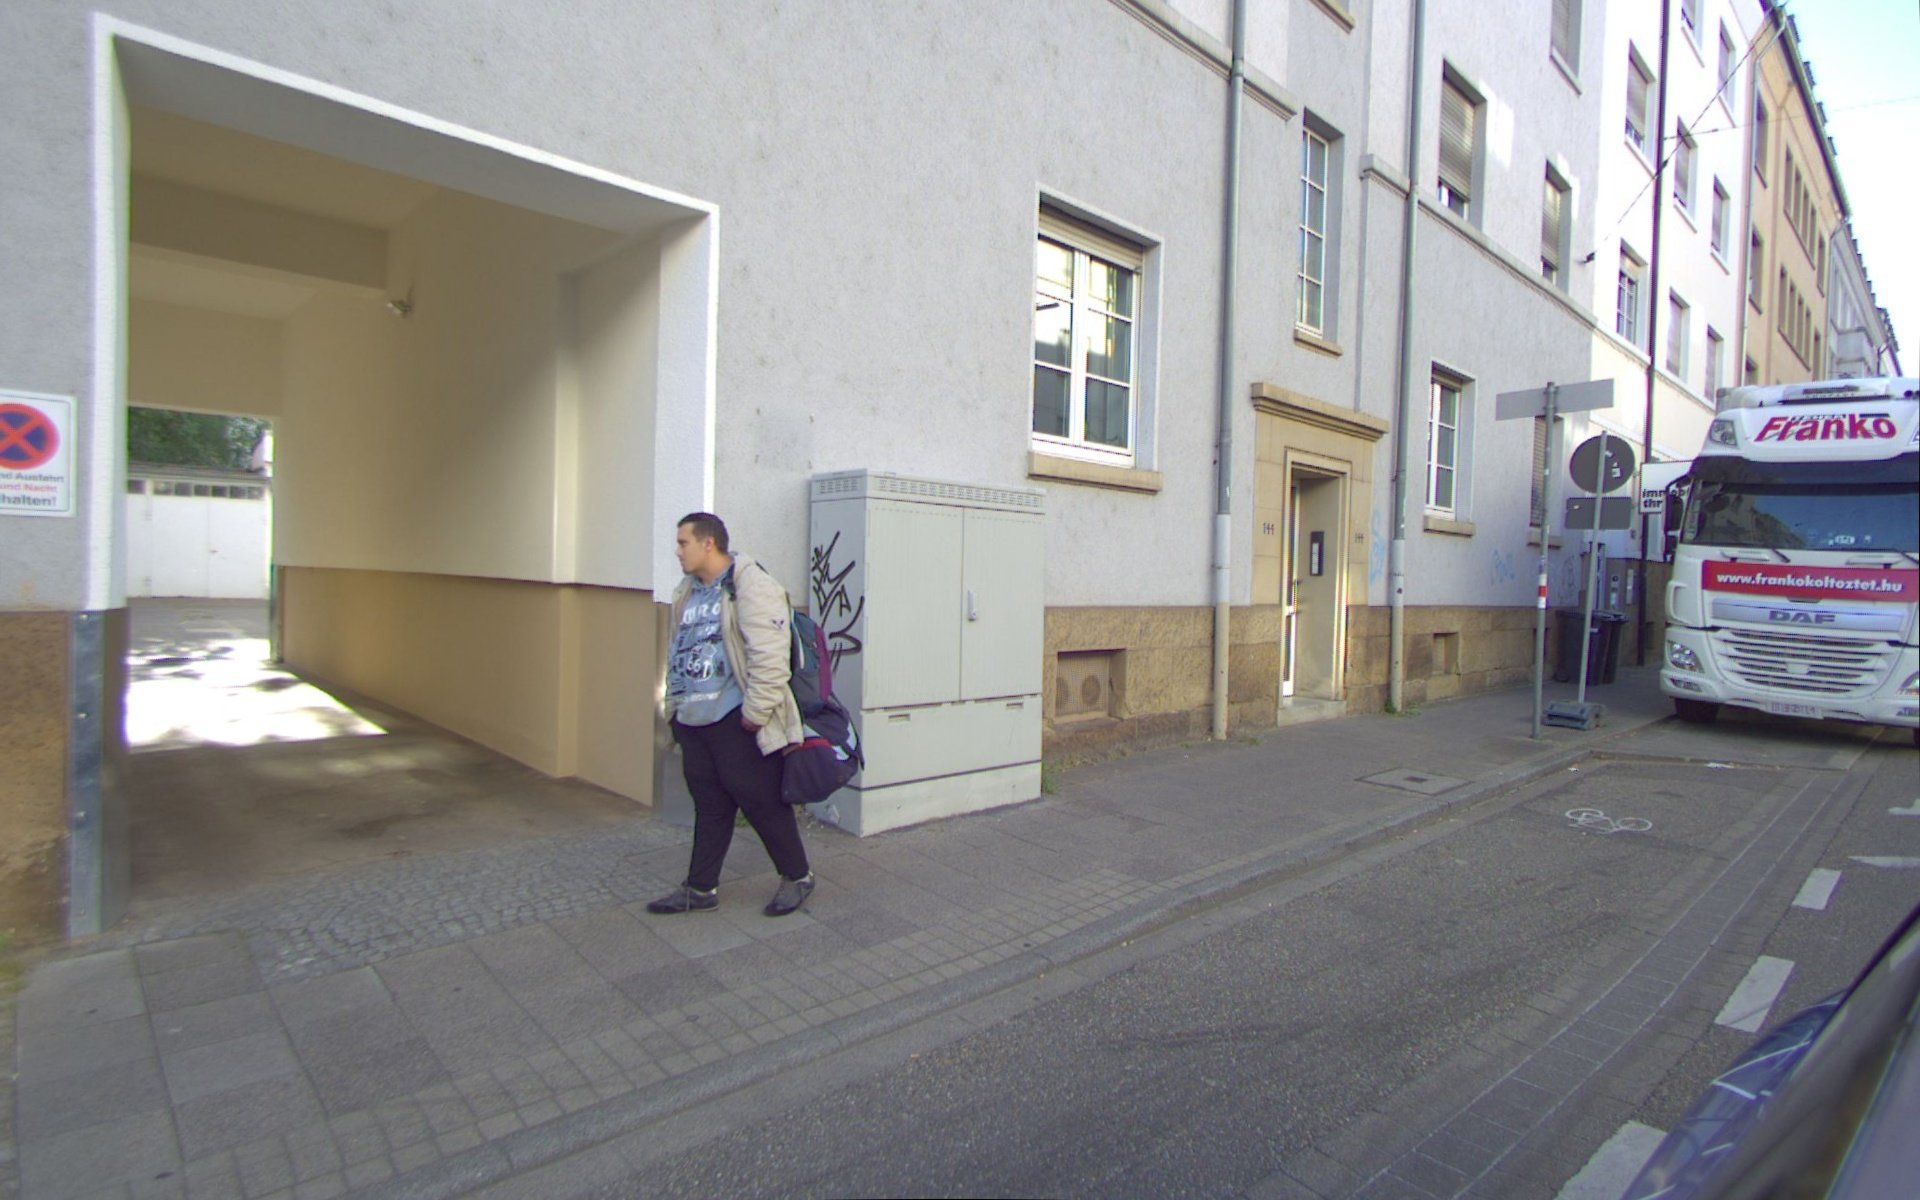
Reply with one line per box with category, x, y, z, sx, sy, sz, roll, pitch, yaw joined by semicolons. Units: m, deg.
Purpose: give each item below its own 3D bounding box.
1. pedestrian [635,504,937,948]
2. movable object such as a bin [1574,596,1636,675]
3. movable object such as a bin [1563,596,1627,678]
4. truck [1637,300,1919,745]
pedestrian;-0.715;0.415;4.115;0.854;1.552;0.827;0;3;-42
movable object such as a bin;9.571;0.511;15.010;0.658;1.118;0.533;2;2;44
movable object such as a bin;9.161;0.517;14.596;0.658;1.118;0.533;2;2;44
truck;12.654;-0.759;13.882;11.578;4.123;2.864;0;2;-43
